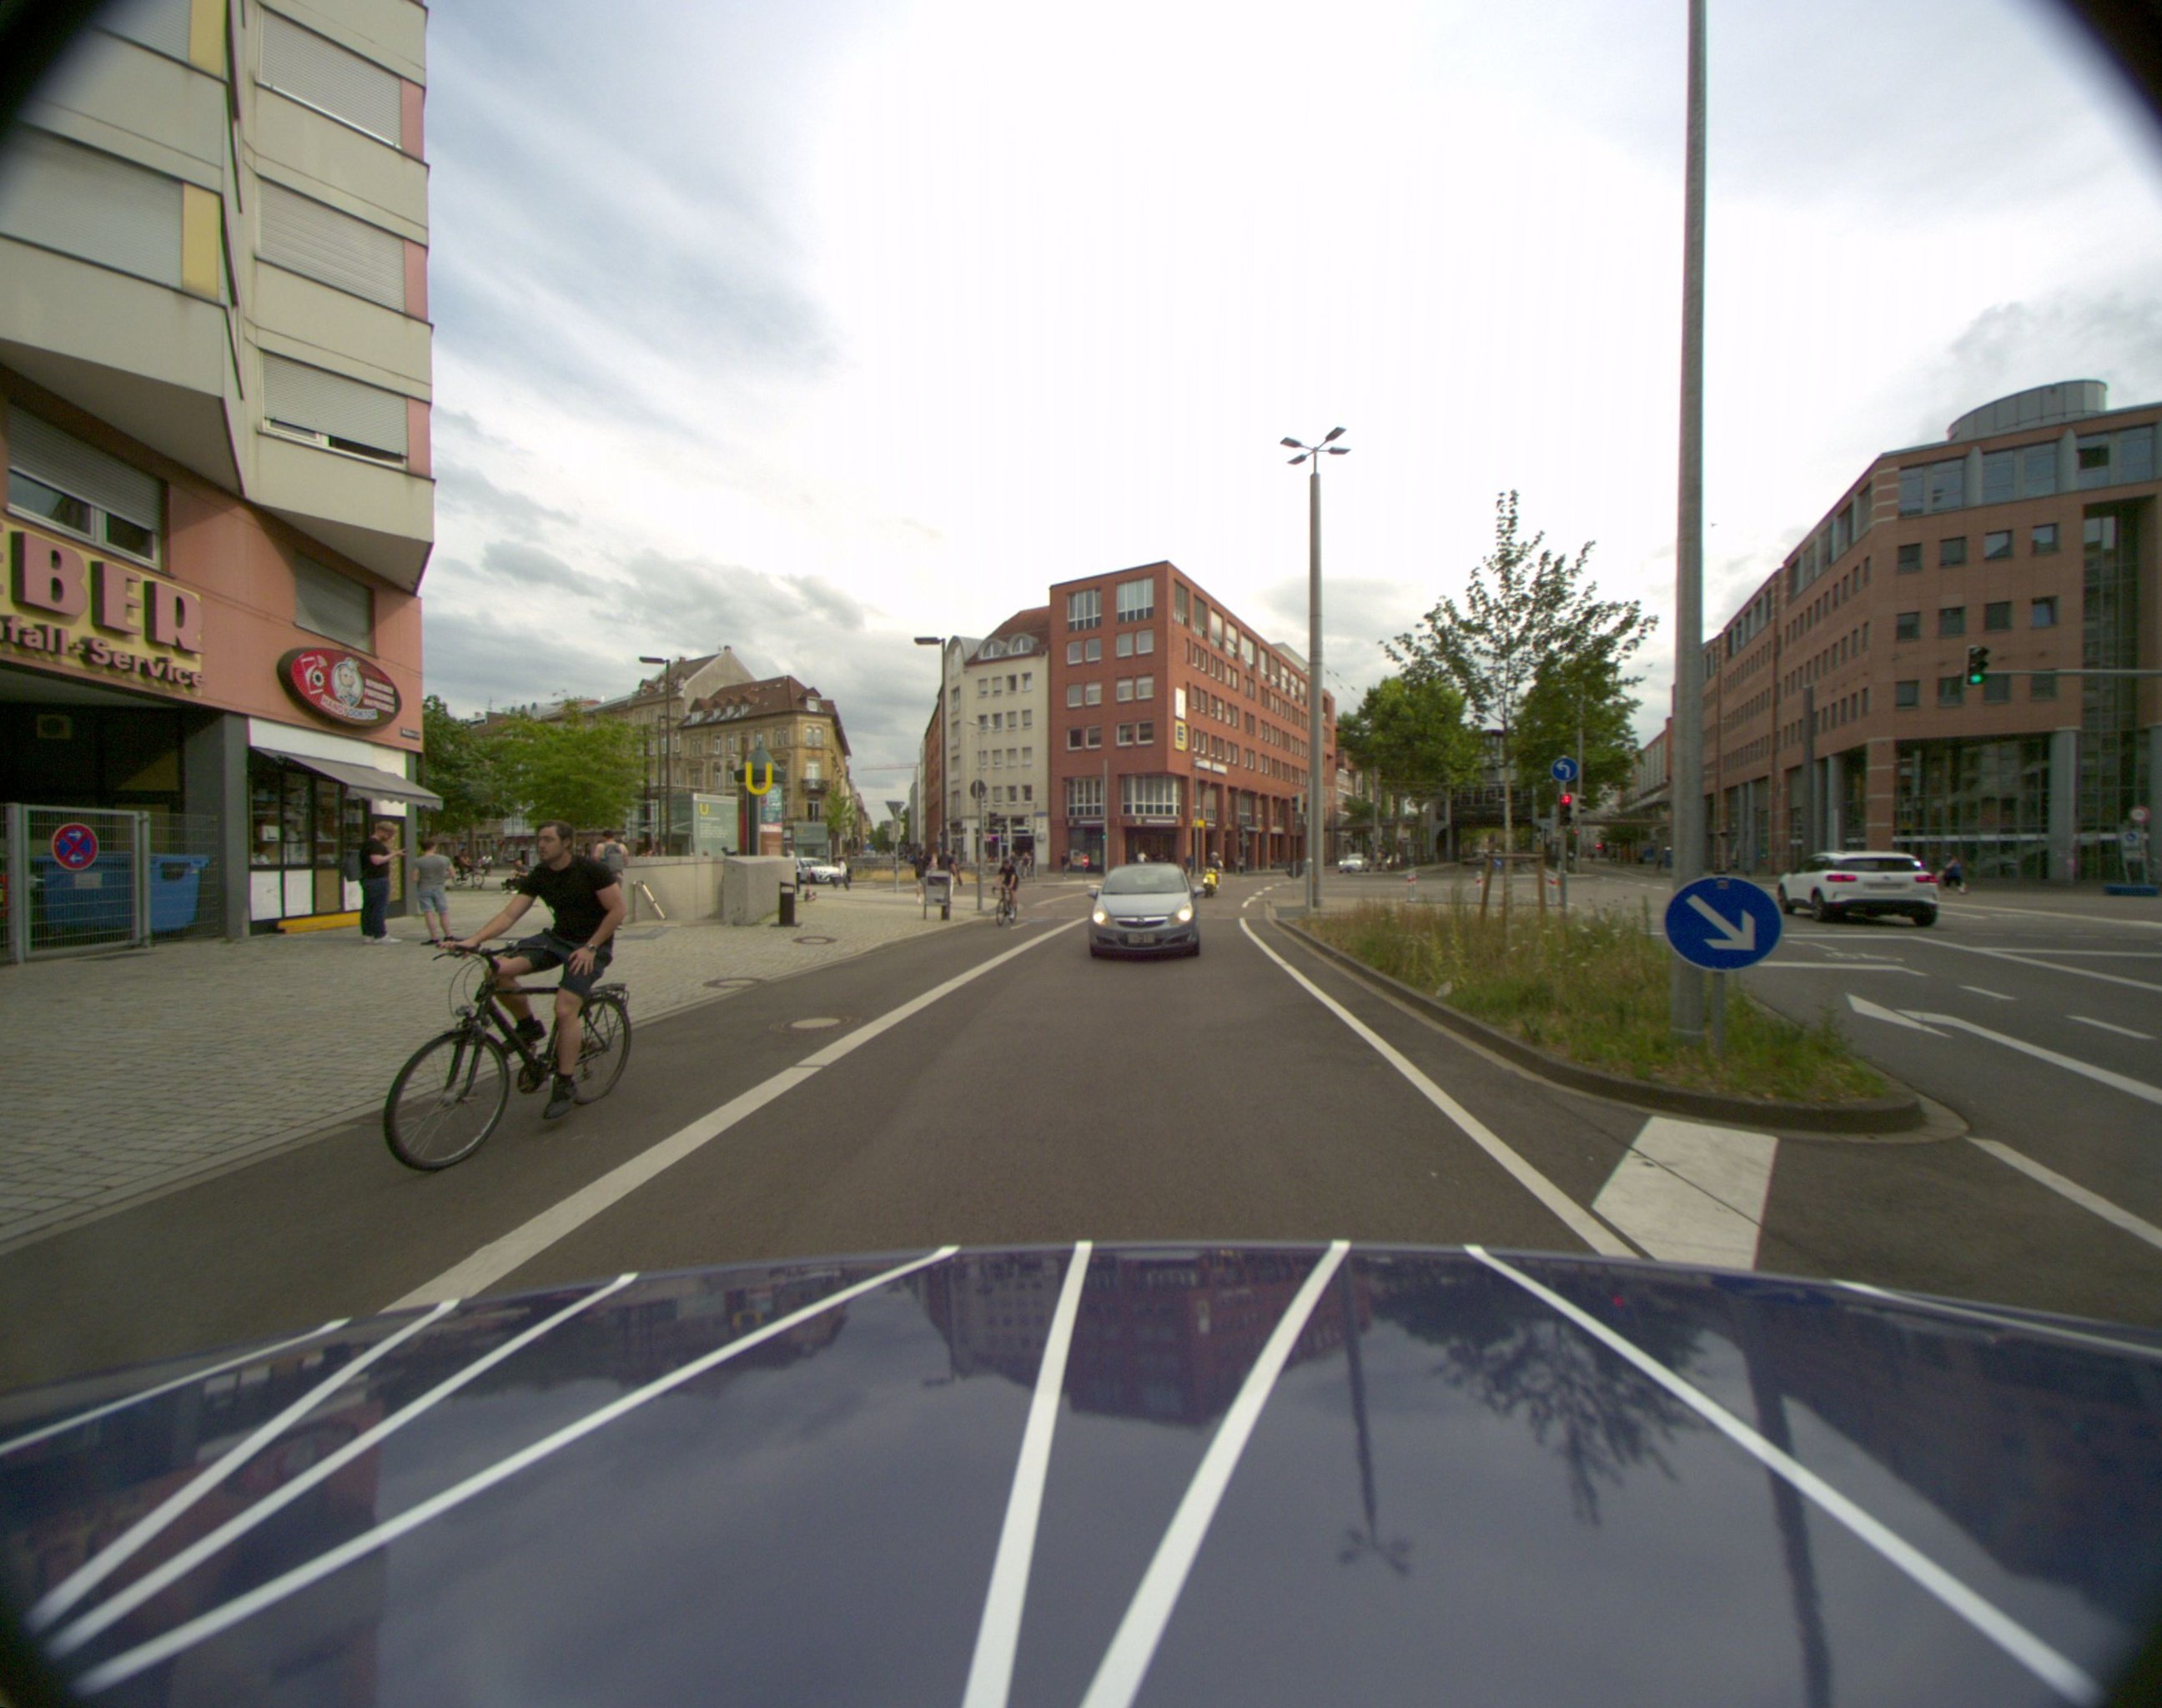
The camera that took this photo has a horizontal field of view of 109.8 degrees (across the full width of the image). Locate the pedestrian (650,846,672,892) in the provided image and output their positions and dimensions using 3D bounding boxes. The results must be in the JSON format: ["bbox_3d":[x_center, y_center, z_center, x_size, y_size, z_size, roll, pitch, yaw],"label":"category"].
[{"bbox_3d":[-17.149,0.606,31.053,0.489,1.856,0.586,0,-1,26],"label":"pedestrian"}]

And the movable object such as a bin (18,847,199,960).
[{"bbox_3d":[-13.751,0.659,10.806,1.147,1.507,1.087,0,0,-15],"label":"movable object such as a bin"}]

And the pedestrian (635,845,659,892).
[{"bbox_3d":[-17.361,0.583,30.409,0.547,1.856,0.586,0,-1,26],"label":"pedestrian"}]

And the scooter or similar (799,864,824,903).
[{"bbox_3d":[-8.777,0.953,24.788,0.286,1.205,1.126,0,0,7],"label":"scooter or similar"}]

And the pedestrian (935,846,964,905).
[{"bbox_3d":[-4.499,0.720,25.939,0.722,1.959,1.012,3,-1,-20],"label":"pedestrian"}]

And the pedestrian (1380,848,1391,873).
[{"bbox_3d":[22.945,0.505,57.260,0.692,1.864,0.808,0,0,31],"label":"pedestrian"}]

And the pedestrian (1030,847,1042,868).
[{"bbox_3d":[-3.400,0.266,57.263,0.708,1.638,0.720,0,0,-22],"label":"pedestrian"}]

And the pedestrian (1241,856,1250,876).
[{"bbox_3d":[14.060,1.021,65.078,0.406,1.622,0.733,3,2,38],"label":"pedestrian"}]

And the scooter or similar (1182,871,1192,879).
[{"bbox_3d":[7.505,1.469,53.828,0.507,0.570,0.817,0,0,23],"label":"scooter or similar"}]

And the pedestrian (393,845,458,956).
[{"bbox_3d":[-10.114,0.701,11.740,0.474,1.663,0.589,3,0,-13],"label":"pedestrian"}]

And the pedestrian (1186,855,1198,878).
[{"bbox_3d":[7.967,0.880,54.520,0.639,1.677,0.601,0,0,30],"label":"pedestrian"}]

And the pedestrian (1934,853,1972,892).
[{"bbox_3d":[33.733,0.706,29.403,0.797,1.464,0.686,0,0,31],"label":"pedestrian"}]

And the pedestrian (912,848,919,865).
[{"bbox_3d":[-16.238,0.262,74.453,0.592,1.712,0.519,0,1,-18],"label":"pedestrian"}]

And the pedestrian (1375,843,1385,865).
[{"bbox_3d":[23.522,0.009,59.803,0.578,1.781,0.534,0,0,-39],"label":"pedestrian"}]

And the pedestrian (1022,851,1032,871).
[{"bbox_3d":[-4.053,0.555,57.029,0.593,1.502,0.628,0,0,-22],"label":"pedestrian"}]

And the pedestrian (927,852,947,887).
[{"bbox_3d":[-6.893,0.742,36.380,0.633,1.685,0.708,0,0,30],"label":"pedestrian"}]

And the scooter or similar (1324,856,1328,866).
[{"bbox_3d":[31.105,0.831,96.394,0.272,1.250,0.923,0,0,31],"label":"scooter or similar"}]

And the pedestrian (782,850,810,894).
[{"bbox_3d":[-11.488,0.716,30.607,0.935,1.730,0.687,1,0,44],"label":"pedestrian"}]

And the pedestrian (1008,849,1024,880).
[{"bbox_3d":[-3.535,0.569,41.426,0.520,1.676,0.727,0,0,31],"label":"pedestrian"}]

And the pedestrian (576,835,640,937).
[{"bbox_3d":[-8.922,0.592,14.365,0.658,1.841,0.970,3,0,-11],"label":"pedestrian"}]

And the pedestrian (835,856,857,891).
[{"bbox_3d":[-10.355,0.844,33.505,0.552,1.492,0.848,0,2,15],"label":"pedestrian"}]

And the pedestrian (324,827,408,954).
[{"bbox_3d":[-10.989,0.555,11.697,0.674,1.892,0.589,3,0,-13],"label":"pedestrian"}]

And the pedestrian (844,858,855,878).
[{"bbox_3d":[-20.037,1.167,65.713,0.606,1.675,0.731,-4,3,-36],"label":"pedestrian"}]

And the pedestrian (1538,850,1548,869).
[{"bbox_3d":[38.111,0.432,62.670,0.657,1.529,0.559,0,2,26],"label":"pedestrian"}]

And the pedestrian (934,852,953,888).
[{"bbox_3d":[-6.478,0.729,35.789,0.469,1.676,0.797,0,1,26],"label":"pedestrian"}]

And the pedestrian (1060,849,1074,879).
[{"bbox_3d":[-0.865,0.595,46.713,0.568,1.813,0.697,0,0,30],"label":"pedestrian"}]

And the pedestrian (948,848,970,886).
[{"bbox_3d":[-5.971,0.630,37.182,0.639,1.843,0.879,0,0,30],"label":"pedestrian"}]

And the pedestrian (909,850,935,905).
[{"bbox_3d":[-5.365,0.789,25.628,0.677,1.789,0.885,3,-1,-18],"label":"pedestrian"}]

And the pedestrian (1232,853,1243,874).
[{"bbox_3d":[13.072,0.784,63.530,0.646,1.686,0.699,2,2,28],"label":"pedestrian"}]

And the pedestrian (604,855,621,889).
[{"bbox_3d":[-22.560,0.852,36.577,0.676,1.631,0.440,0,0,30],"label":"pedestrian"}]

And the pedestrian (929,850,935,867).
[{"bbox_3d":[-14.705,0.456,74.933,0.542,1.712,0.519,0,1,-25],"label":"pedestrian"}]

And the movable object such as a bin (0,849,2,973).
[{"bbox_3d":[-13.053,0.669,8.163,1.150,1.452,1.222,0,0,-15],"label":"movable object such as a bin"}]
